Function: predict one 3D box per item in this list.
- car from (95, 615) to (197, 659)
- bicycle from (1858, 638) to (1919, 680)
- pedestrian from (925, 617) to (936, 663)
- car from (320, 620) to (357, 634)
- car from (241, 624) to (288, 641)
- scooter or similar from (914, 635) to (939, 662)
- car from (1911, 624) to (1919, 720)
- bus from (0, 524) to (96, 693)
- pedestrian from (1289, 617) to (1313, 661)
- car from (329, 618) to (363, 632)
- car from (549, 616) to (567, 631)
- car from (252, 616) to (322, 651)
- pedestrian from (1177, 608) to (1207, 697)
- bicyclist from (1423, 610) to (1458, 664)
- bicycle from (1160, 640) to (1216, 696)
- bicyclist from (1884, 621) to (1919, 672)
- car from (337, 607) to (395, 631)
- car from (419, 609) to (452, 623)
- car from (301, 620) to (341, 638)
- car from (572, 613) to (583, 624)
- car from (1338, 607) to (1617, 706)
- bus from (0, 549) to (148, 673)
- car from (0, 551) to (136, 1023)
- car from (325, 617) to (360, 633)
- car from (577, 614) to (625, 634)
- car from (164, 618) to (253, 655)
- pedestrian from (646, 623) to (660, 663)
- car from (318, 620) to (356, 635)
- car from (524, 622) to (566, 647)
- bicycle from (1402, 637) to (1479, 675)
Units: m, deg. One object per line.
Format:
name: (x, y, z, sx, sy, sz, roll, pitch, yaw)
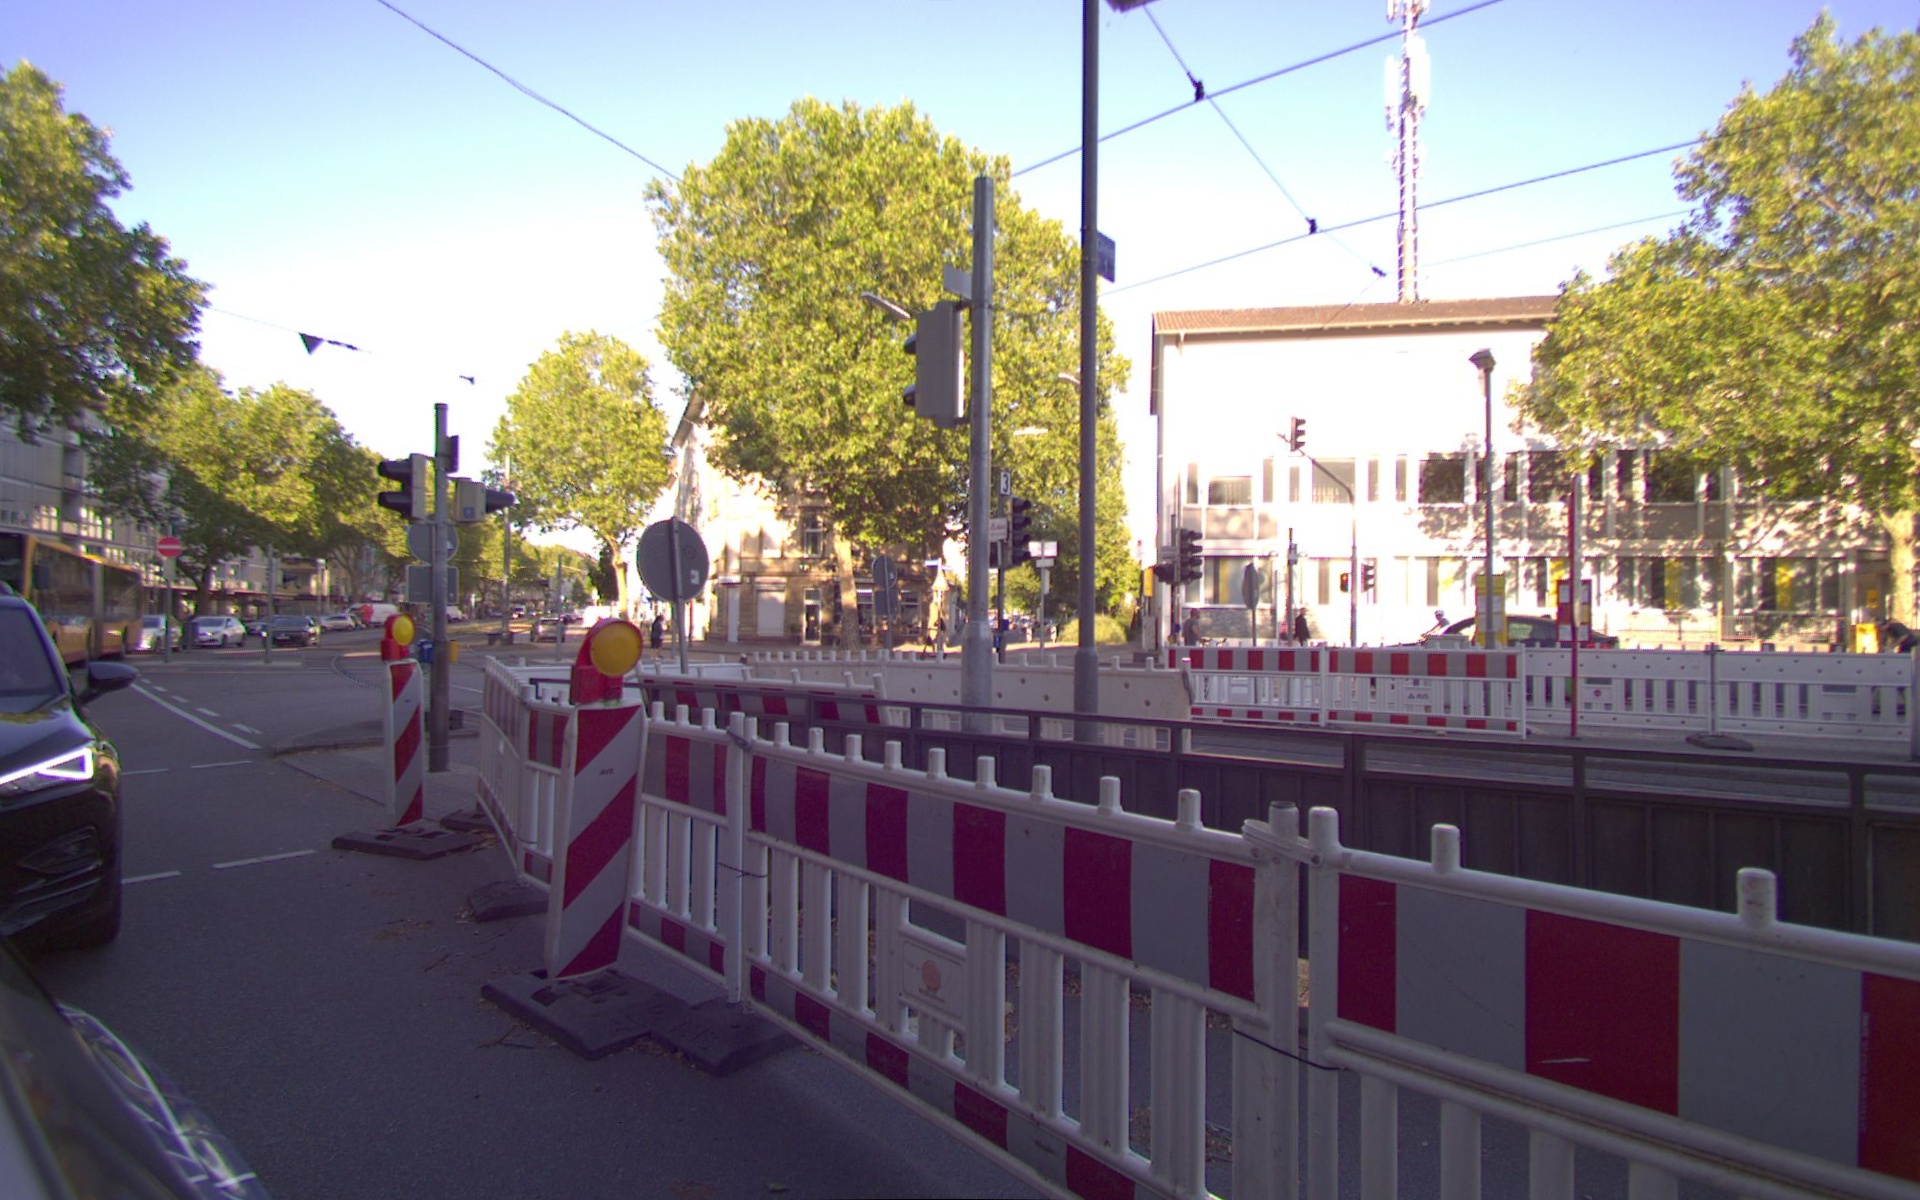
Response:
car: (-30.484, 1.345, 38.055, 1.880, 1.486, 4.433, 1, -1, -24)
bicycle: (21.360, 1.338, 22.926, 1.423, 0.920, 0.454, 0, -2, 24)
pedestrian: (-1.163, 1.565, 39.335, 0.414, 1.780, 0.354, 0, -1, -1)
car: (-56.622, 2.461, 92.229, 1.201, 1.290, 2.592, 0, -1, 43)
car: (-50.987, 2.372, 74.190, 1.198, 1.226, 2.599, 0, -1, 34)
scooter or similar: (-1.300, 1.873, 39.055, 0.968, 1.047, 0.308, 0, -1, 0)
car: (17.180, 1.156, 15.289, 3.830, 1.588, 1.676, -1, -2, 34)
bus: (-21.175, 0.216, 22.085, 2.710, 3.127, 9.519, 1, -2, -36)
pedestrian: (10.721, 1.215, 31.804, 0.626, 1.367, 0.531, 0, -2, 27)
car: (-59.621, 2.398, 98.271, 1.201, 1.355, 2.592, 0, -1, 43)
car: (-52.154, 3.054, 131.491, 1.965, 1.881, 4.012, 1, -1, -19)
car: (-31.768, 1.552, 47.905, 1.923, 1.486, 4.772, 1, -1, -24)
pedestrian: (4.585, 1.025, 19.953, 0.539, 1.710, 0.515, 0, -2, 18)
bicyclist: (12.639, 0.964, 26.631, 0.724, 1.407, 0.514, -1, -2, 41)
bicycle: (4.595, 1.354, 20.386, 1.086, 1.101, 0.243, 0, -2, 19)
bicyclist: (21.363, 1.042, 22.930, 0.504, 1.131, 0.454, 0, -2, 24)
car: (-61.680, 1.985, 105.169, 1.873, 2.394, 4.817, 0, -1, 30)
car: (-77.573, 2.372, 149.660, 1.874, 2.029, 3.956, -1, -2, 32)
car: (-52.441, 2.382, 83.083, 1.201, 1.484, 2.592, 0, -1, 43)
car: (-69.834, 3.381, 184.596, 1.875, 1.918, 4.013, 1, -1, -21)
car: (9.891, 1.007, 19.479, 4.576, 1.679, 1.878, -1, 0, 35)
bus: (-26.475, 0.368, 29.939, 2.708, 3.127, 9.523, 1, -2, -32)
car: (-5.309, 0.694, 4.721, 4.301, 1.670, 1.823, -1, -1, 45)
car: (-58.219, 2.357, 95.438, 1.201, 1.399, 2.592, 0, -1, 43)
car: (-34.303, 2.288, 96.695, 1.994, 1.929, 3.954, -1, -2, 33)
car: (-34.726, 1.639, 46.916, 1.923, 1.562, 4.771, 1, -1, -19)
pedestrian: (-10.448, 1.457, 34.427, 0.359, 1.318, 0.403, 1, -2, -32)
car: (-55.000, 2.450, 89.339, 1.201, 1.290, 2.592, 0, -1, 43)
car: (-24.853, 2.040, 60.738, 1.853, 1.420, 4.011, 1, -1, -15)
bicycle: (12.630, 1.456, 26.627, 1.769, 0.927, 0.514, -1, -2, 41)
